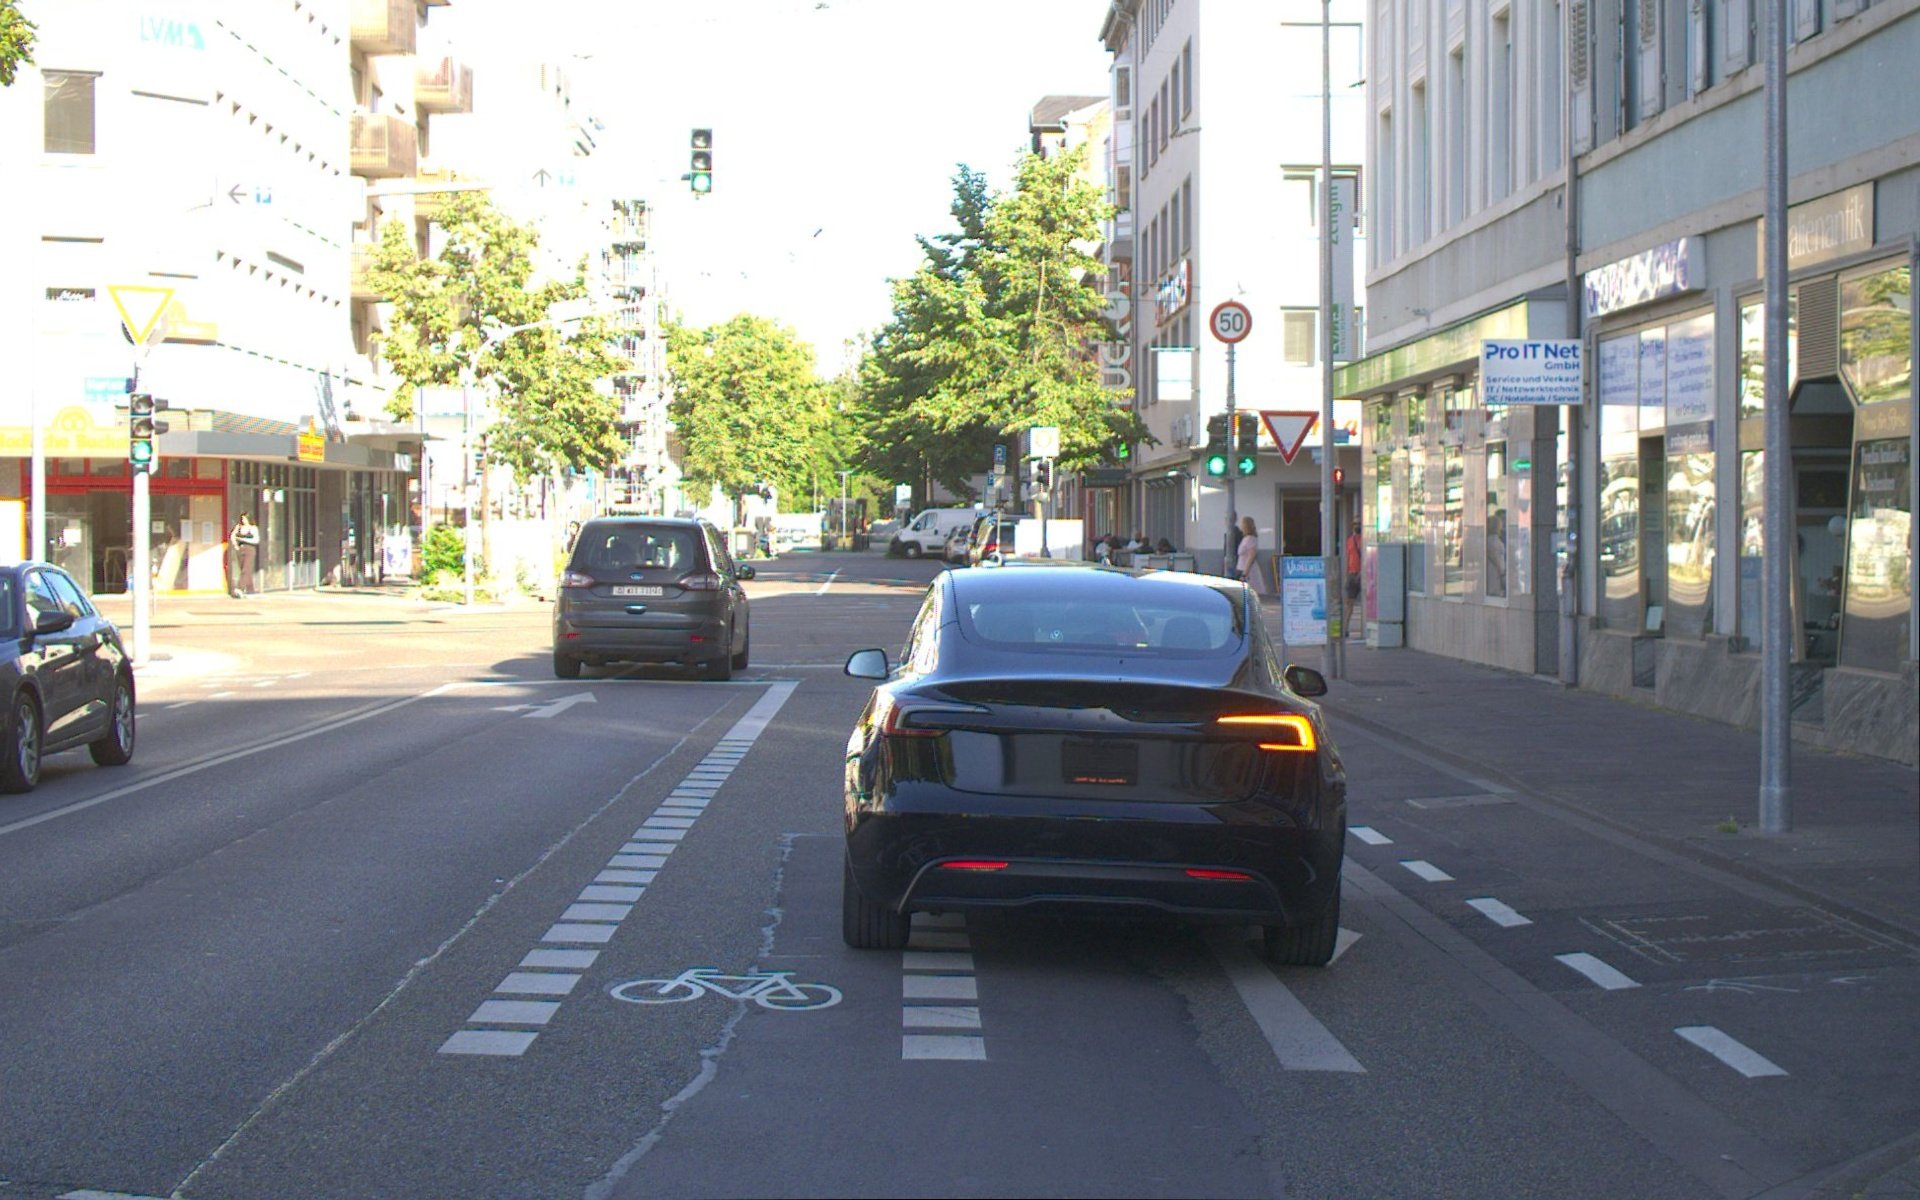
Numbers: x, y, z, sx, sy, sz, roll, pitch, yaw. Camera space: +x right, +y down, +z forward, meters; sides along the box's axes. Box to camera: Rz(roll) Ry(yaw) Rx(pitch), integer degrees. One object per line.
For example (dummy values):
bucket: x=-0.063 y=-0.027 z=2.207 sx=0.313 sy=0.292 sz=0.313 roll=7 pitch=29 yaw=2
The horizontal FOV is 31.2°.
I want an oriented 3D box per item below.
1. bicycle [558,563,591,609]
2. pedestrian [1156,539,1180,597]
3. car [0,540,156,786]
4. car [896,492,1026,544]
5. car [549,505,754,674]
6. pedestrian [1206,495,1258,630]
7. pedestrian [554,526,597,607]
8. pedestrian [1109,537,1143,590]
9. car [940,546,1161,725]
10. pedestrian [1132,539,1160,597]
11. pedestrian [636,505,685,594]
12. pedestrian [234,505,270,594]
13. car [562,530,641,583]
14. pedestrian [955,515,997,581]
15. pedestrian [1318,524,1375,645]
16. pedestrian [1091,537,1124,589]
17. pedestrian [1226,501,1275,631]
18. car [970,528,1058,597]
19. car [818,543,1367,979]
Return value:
bicycle: x=-8.152 y=-0.292 z=72.728 sx=0.480 sy=0.952 sz=1.456 roll=-1 pitch=1 yaw=-15
pedestrian: x=4.765 y=-0.746 z=78.796 sx=0.488 sy=1.317 sz=0.653 roll=0 pitch=1 yaw=7
car: x=-6.354 y=0.354 z=21.598 sx=1.650 sy=1.392 sz=4.043 roll=-2 pitch=1 yaw=-1
car: x=0.035 y=-3.460 z=145.356 sx=5.391 sy=2.138 sz=2.000 roll=-1 pitch=1 yaw=-2
car: x=-3.276 y=-0.150 z=37.237 sx=1.904 sy=1.727 sz=4.289 roll=0 pitch=1 yaw=-1
pedestrian: x=3.732 y=-0.520 z=47.254 sx=0.640 sy=1.835 sz=0.681 roll=0 pitch=1 yaw=-1
pedestrian: x=-8.100 y=-0.711 z=72.427 sx=0.790 sy=1.706 sz=0.654 roll=0 pitch=1 yaw=-16
pedestrian: x=4.221 y=-0.930 z=87.508 sx=0.730 sy=1.343 sz=1.060 roll=-1 pitch=1 yaw=-3
car: x=0.753 y=0.253 z=29.684 sx=1.762 sy=1.414 sz=4.354 roll=1 pitch=1 yaw=1
pedestrian: x=4.225 y=-0.728 z=78.012 sx=0.586 sy=1.308 sz=0.560 roll=-1 pitch=1 yaw=-1
pedestrian: x=-6.408 y=-1.087 z=73.554 sx=0.778 sy=1.860 sz=1.002 roll=-3 pitch=2 yaw=-15
pedestrian: x=-13.526 y=-0.967 z=65.711 sx=0.558 sy=1.703 sz=0.712 roll=-1 pitch=1 yaw=-4
car: x=-11.103 y=-1.368 z=106.730 sx=1.993 sy=1.592 sz=4.000 roll=1 pitch=1 yaw=1
pedestrian: x=0.461 y=-1.524 z=100.116 sx=0.958 sy=1.909 sz=1.104 roll=0 pitch=1 yaw=15
pedestrian: x=5.494 y=-0.230 z=48.932 sx=0.690 sy=1.697 sz=0.912 roll=-1 pitch=1 yaw=0
pedestrian: x=3.800 y=-0.954 z=88.613 sx=0.709 sy=1.343 sz=1.060 roll=-1 pitch=1 yaw=-4
pedestrian: x=3.945 y=-0.463 z=46.718 sx=0.572 sy=1.753 sz=0.649 roll=1 pitch=1 yaw=-1
car: x=1.285 y=-0.932 z=83.662 sx=2.001 sy=1.630 sz=4.289 roll=0 pitch=1 yaw=-1
car: x=0.448 y=0.513 z=13.901 sx=1.869 sy=1.422 sz=4.365 roll=0 pitch=2 yaw=0
